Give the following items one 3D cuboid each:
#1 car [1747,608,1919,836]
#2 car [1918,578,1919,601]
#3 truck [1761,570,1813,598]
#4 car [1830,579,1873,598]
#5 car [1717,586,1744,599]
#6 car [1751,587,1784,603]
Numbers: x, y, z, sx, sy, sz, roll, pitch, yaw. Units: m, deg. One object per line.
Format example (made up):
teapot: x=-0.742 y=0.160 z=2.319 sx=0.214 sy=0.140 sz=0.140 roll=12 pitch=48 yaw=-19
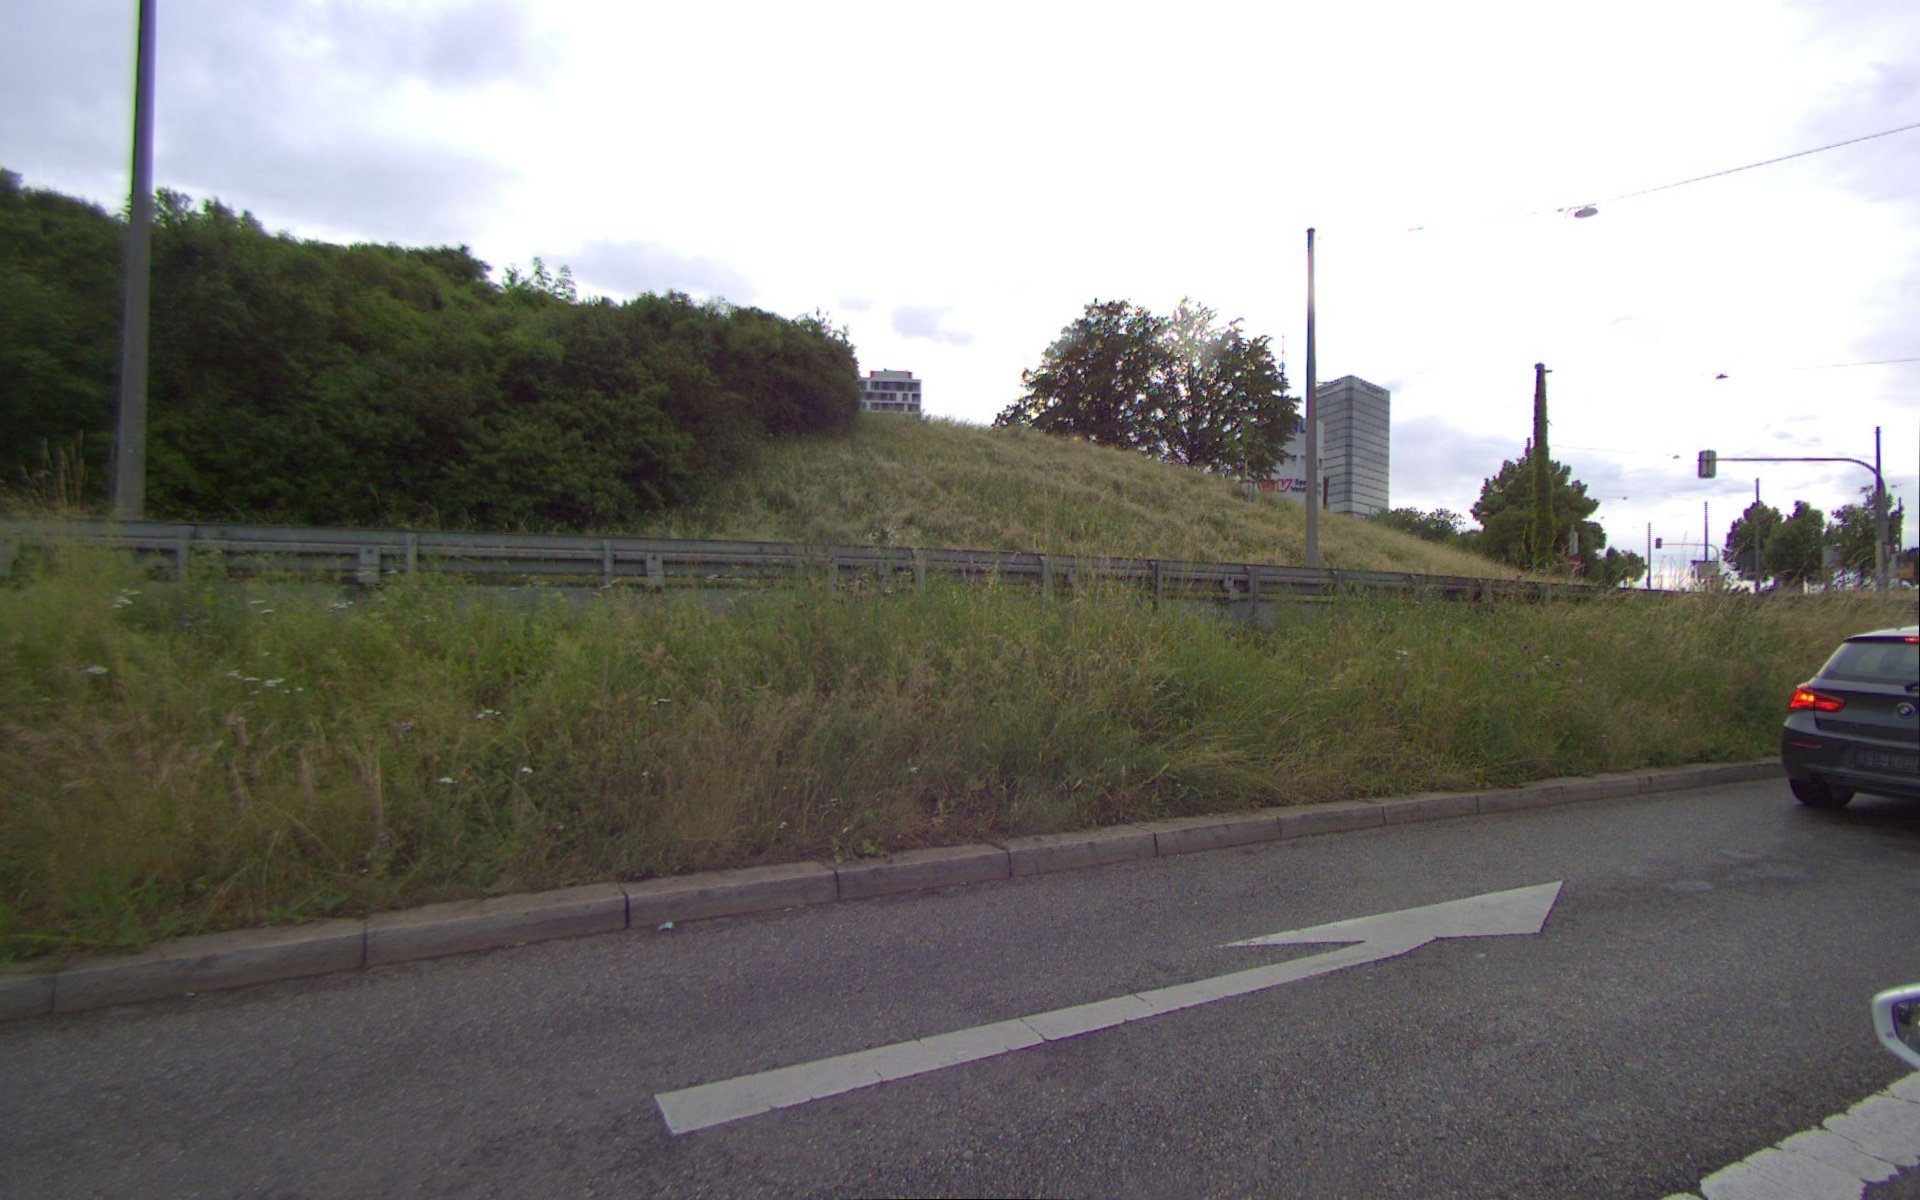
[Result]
car: x=8.053 y=0.872 z=7.568 sx=4.059 sy=1.479 sz=1.697 roll=2 pitch=-1 yaw=-25
car: x=77.863 y=-0.870 z=79.113 sx=2.096 sy=1.818 sz=4.736 roll=2 pitch=-1 yaw=26
truck: x=101.628 y=-1.995 z=123.592 sx=3.206 sy=3.116 sz=6.171 roll=4 pitch=3 yaw=23
car: x=89.010 y=-1.135 z=100.334 sx=1.962 sy=1.681 sz=4.541 roll=2 pitch=-1 yaw=25
car: x=109.562 y=-1.070 z=142.878 sx=1.962 sy=1.682 sz=4.540 roll=2 pitch=1 yaw=25
car: x=94.177 y=-0.571 z=117.173 sx=1.962 sy=1.681 sz=4.350 roll=2 pitch=-1 yaw=25
